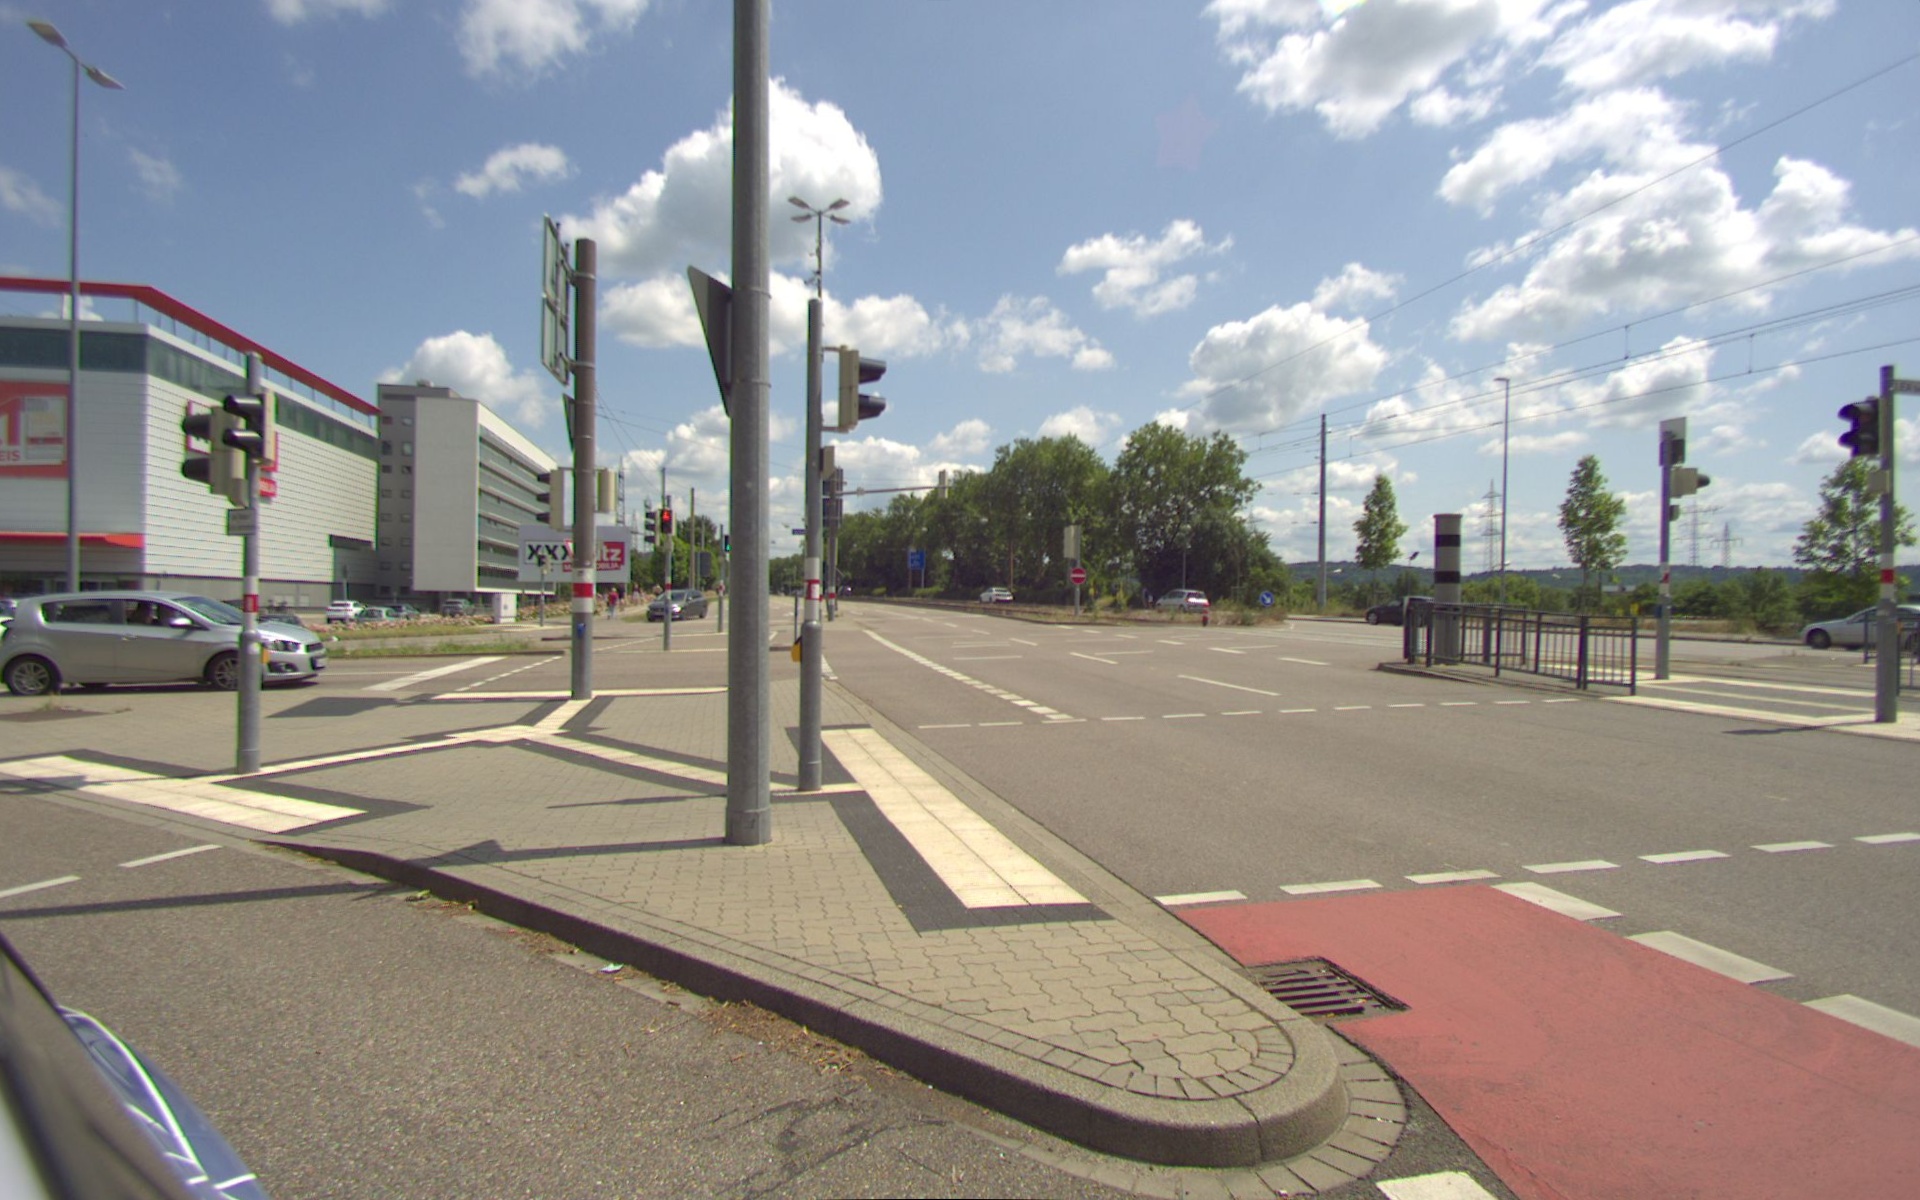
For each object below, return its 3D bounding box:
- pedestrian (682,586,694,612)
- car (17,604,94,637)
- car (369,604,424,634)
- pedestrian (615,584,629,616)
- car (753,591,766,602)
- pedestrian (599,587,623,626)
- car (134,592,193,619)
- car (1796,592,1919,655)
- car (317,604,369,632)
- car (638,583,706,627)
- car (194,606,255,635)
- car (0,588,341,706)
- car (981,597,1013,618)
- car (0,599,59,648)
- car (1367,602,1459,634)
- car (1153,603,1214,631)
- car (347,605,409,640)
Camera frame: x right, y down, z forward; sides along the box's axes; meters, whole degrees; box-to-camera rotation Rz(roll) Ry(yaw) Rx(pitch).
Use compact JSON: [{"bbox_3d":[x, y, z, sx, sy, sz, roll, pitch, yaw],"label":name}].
[{"bbox_3d":[-21.695,-0.091,80.639,0.766,2.029,0.566,-1,-1,8],"label":"pedestrian"},{"bbox_3d":[-57.784,1.297,64.760,1.967,2.004,4.096,0,-1,-13],"label":"car"},{"bbox_3d":[-38.870,1.301,69.965,2.212,2.004,4.374,0,-1,-13],"label":"car"},{"bbox_3d":[-19.326,-0.014,57.879,0.588,1.824,0.535,0,-1,-2],"label":"pedestrian"},{"bbox_3d":[-36.859,-0.592,186.229,1.969,2.029,4.005,0,-1,-6],"label":"car"},{"bbox_3d":[-17.033,0.295,49.373,0.854,1.851,0.799,-1,2,-41],"label":"pedestrian"},{"bbox_3d":[-62.734,0.443,79.770,1.967,2.004,4.095,0,-1,-11],"label":"car"},{"bbox_3d":[27.807,0.682,29.736,1.852,1.787,4.681,0,-1,-19],"label":"car"},{"bbox_3d":[-44.735,1.305,73.485,1.967,2.004,4.374,0,-1,-13],"label":"car"},{"bbox_3d":[-13.999,0.256,49.395,1.974,2.029,3.995,-1,-1,4],"label":"car"},{"bbox_3d":[-52.392,1.432,72.159,1.967,2.004,4.374,0,-1,-13],"label":"car"},{"bbox_3d":[-11.735,0.629,15.148,3.769,1.480,1.906,-2,2,-14],"label":"car"},{"bbox_3d":[3.256,0.722,90.364,1.968,1.822,5.144,0,-1,-9],"label":"car"},{"bbox_3d":[-40.341,0.981,42.428,1.967,2.004,4.374,0,-1,-13],"label":"car"},{"bbox_3d":[20.931,0.789,46.942,1.641,1.419,3.905,0,0,-20],"label":"car"},{"bbox_3d":[14.266,1.060,64.852,1.782,1.671,4.336,0,0,-20],"label":"car"},{"bbox_3d":[-34.175,1.293,59.551,1.967,2.004,4.374,0,-1,-13],"label":"car"}]
